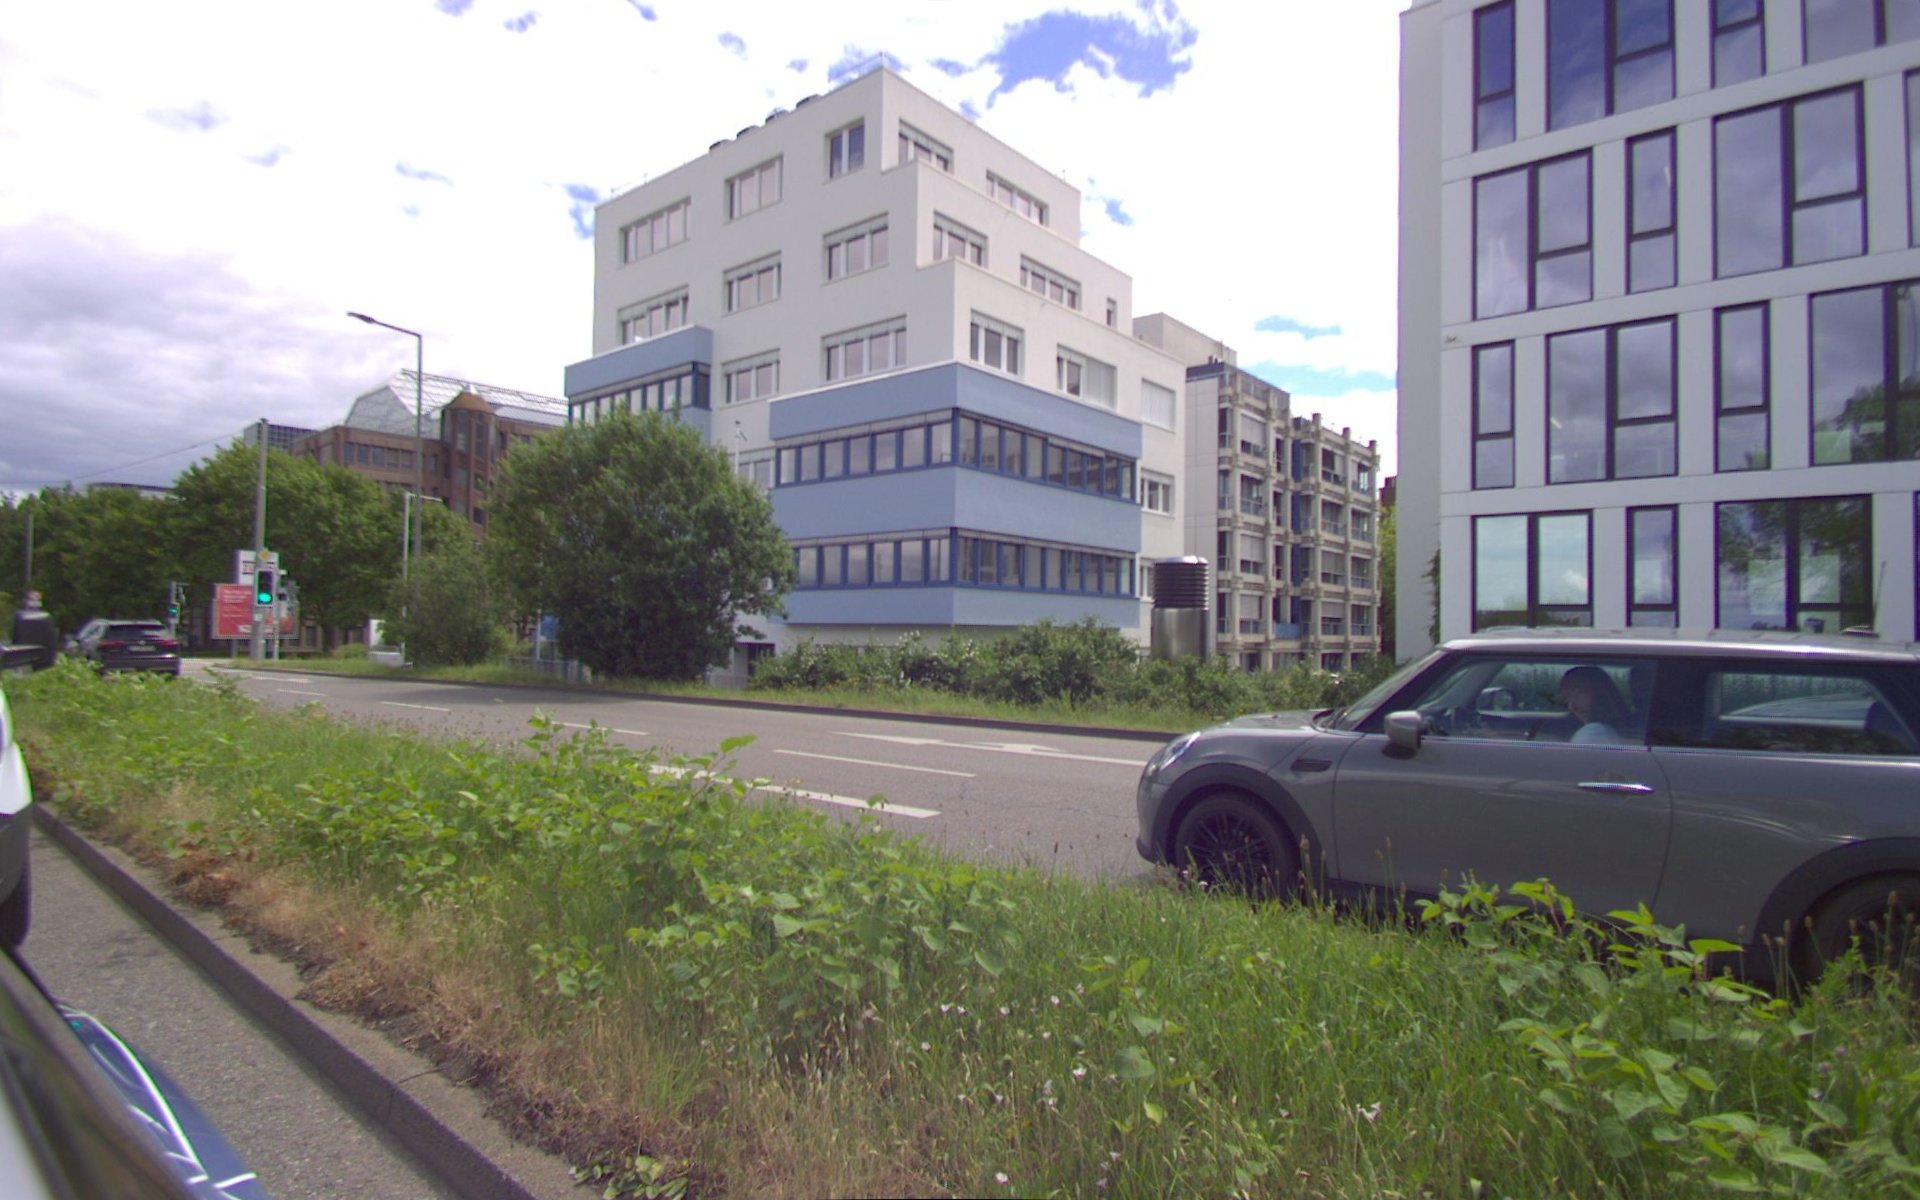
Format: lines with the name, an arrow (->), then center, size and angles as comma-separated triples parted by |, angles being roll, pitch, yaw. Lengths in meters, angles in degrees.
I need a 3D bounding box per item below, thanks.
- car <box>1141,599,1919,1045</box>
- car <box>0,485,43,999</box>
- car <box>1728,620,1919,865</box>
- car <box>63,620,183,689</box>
car -> 2.839, 0.753, 4.639 | 3.633, 1.441, 1.671 | -1, -2, 41
car -> -6.127, 0.588, 4.899 | 5.052, 1.965, 1.942 | -2, -1, 41
car -> 6.749, 0.799, 5.644 | 3.780, 1.393, 1.537 | -2, -2, 43
car -> -21.371, 1.332, 25.793 | 4.041, 1.614, 1.678 | -1, -2, 40
